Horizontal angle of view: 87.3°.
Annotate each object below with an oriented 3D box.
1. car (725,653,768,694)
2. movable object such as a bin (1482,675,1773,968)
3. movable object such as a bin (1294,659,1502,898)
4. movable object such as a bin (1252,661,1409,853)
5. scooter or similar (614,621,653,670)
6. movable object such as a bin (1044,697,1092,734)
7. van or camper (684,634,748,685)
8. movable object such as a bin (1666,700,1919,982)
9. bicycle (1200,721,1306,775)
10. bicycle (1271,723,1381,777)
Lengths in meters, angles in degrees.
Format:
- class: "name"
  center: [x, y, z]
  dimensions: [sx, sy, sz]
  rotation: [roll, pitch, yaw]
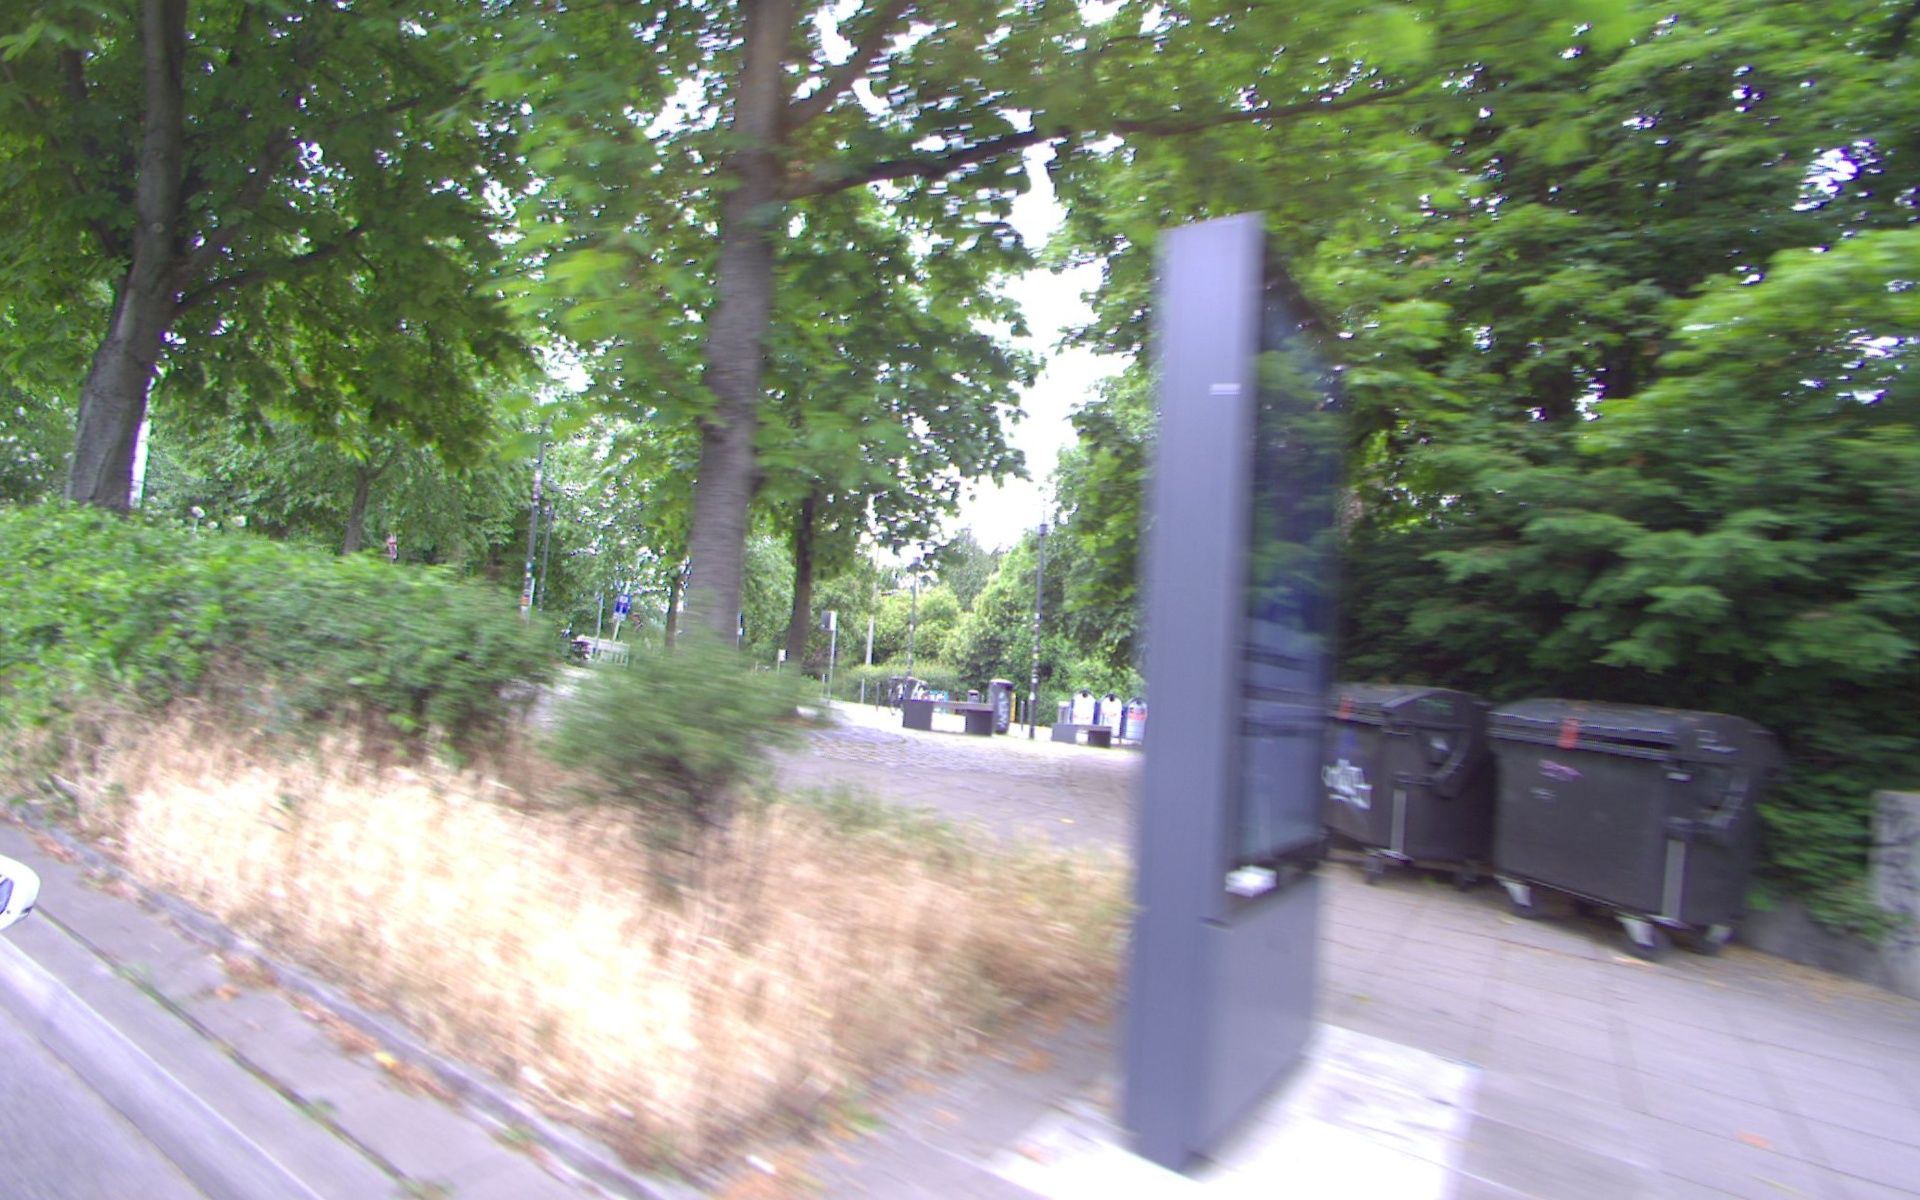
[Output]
- class: "car"
  center: [-12.637, 4.316, 59.421]
  dimensions: [1.970, 2.034, 3.993]
  rotation: [9, -4, -15]
- class: "movable object such as a bin"
  center: [4.090, 1.309, 6.256]
  dimensions: [0.831, 1.553, 1.147]
  rotation: [6, -2, -14]
- class: "movable object such as a bin"
  center: [3.291, 1.291, 7.699]
  dimensions: [0.829, 1.553, 1.259]
  rotation: [7, -1, -3]
- class: "movable object such as a bin"
  center: [3.374, 1.394, 9.286]
  dimensions: [0.828, 1.552, 1.201]
  rotation: [7, -3, -1]
- class: "scooter or similar"
  center: [-8.937, 1.240, 27.540]
  dimensions: [0.461, 1.260, 1.308]
  rotation: [10, -6, -36]
- class: "movable object such as a bin"
  center: [4.083, 4.354, 38.027]
  dimensions: [1.296, 1.178, 1.059]
  rotation: [5, -5, 39]
- class: "van or camper"
  center: [-11.578, 2.909, 48.090]
  dimensions: [1.855, 1.996, 4.481]
  rotation: [8, -6, -1]
- class: "movable object such as a bin"
  center: [5.161, 1.435, 6.152]
  dimensions: [1.061, 1.503, 0.809]
  rotation: [6, -2, -14]
- class: "bicycle"
  center: [8.817, 4.458, 30.452]
  dimensions: [0.919, 1.157, 2.919]
  rotation: [11, -5, -43]
- class: "bicycle"
  center: [10.929, 4.469, 30.147]
  dimensions: [0.919, 1.157, 2.919]
  rotation: [11, -5, -43]
